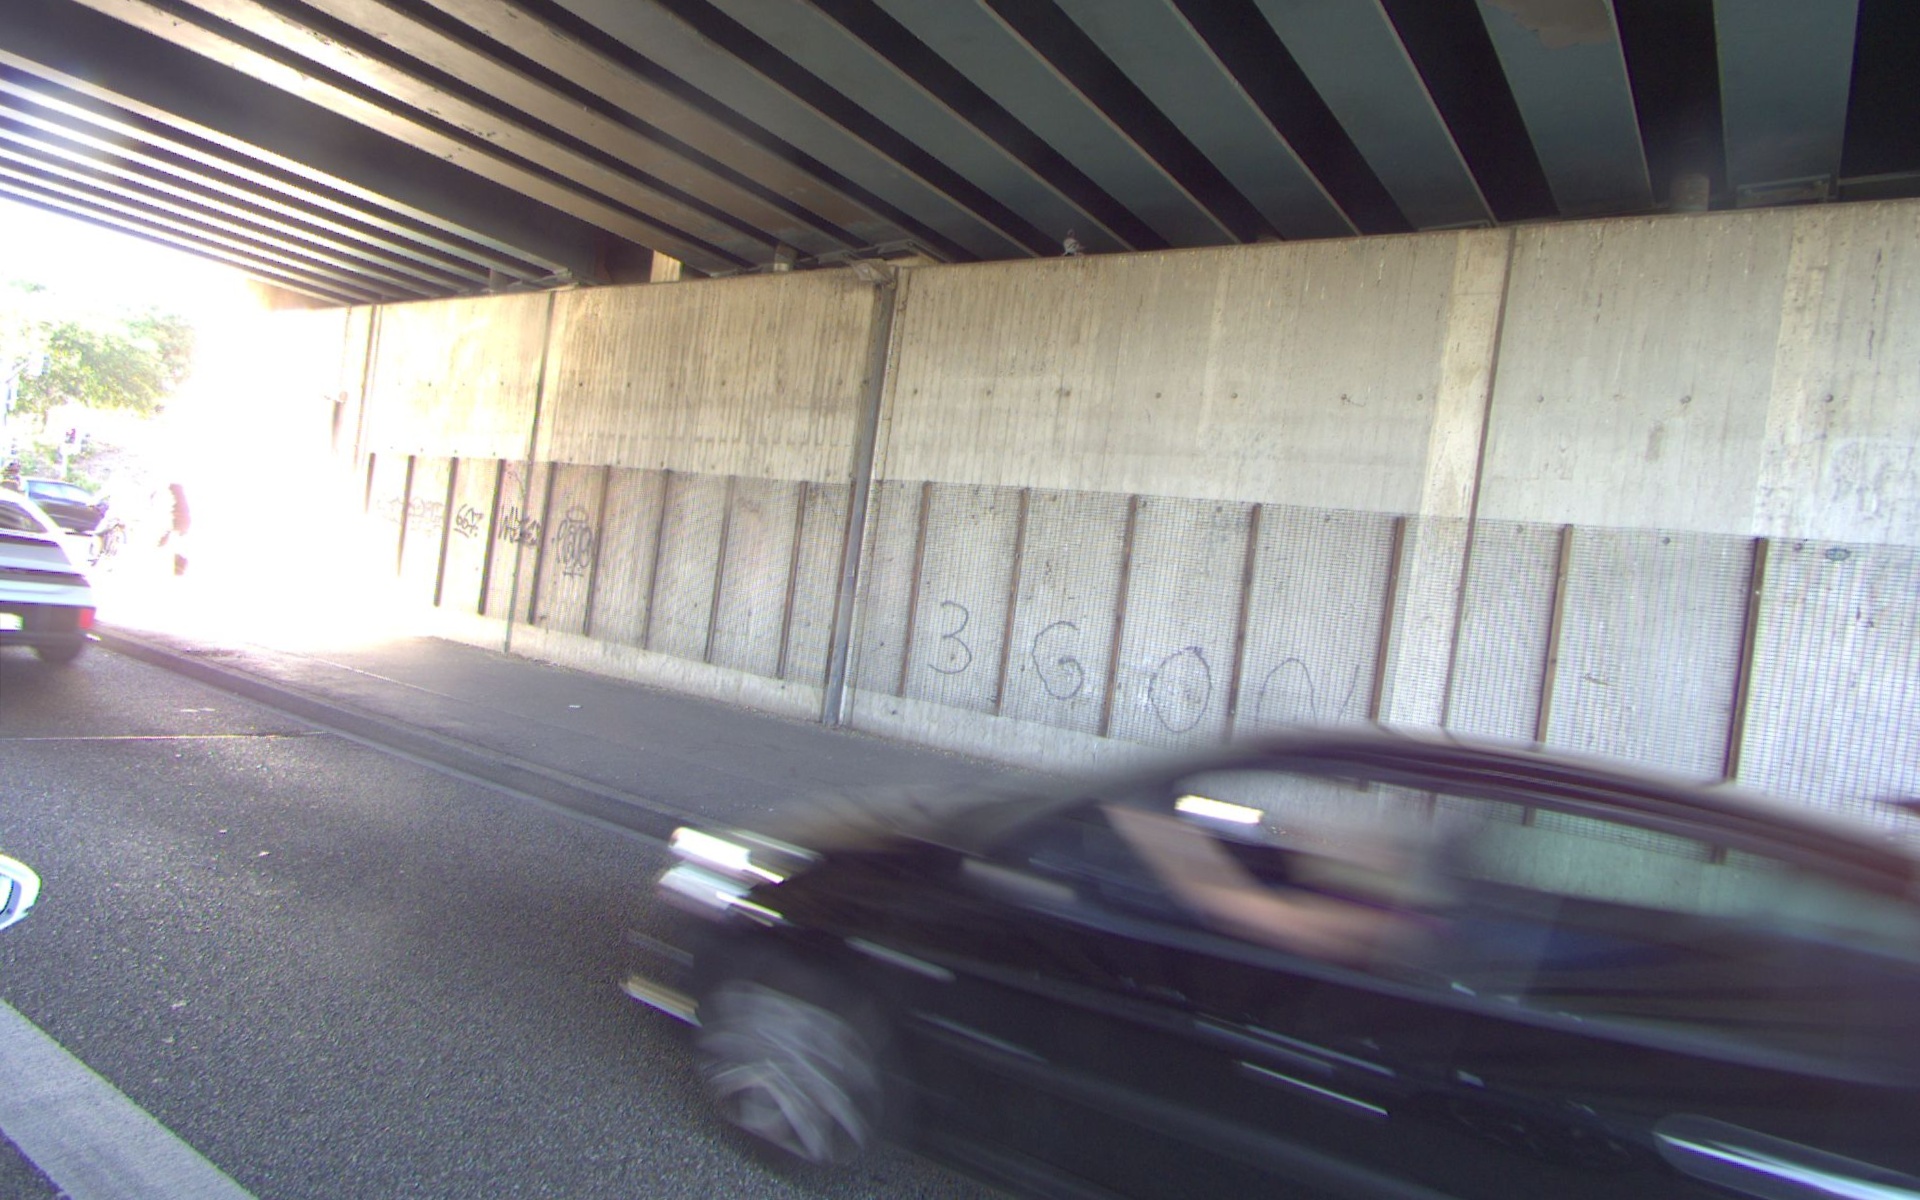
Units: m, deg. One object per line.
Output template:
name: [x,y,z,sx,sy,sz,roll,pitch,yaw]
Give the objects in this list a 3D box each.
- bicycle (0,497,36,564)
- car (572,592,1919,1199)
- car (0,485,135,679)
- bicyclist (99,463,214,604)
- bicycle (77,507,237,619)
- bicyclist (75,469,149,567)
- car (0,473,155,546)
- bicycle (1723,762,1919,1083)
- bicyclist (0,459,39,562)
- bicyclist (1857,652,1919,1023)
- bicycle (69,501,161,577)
bicycle: [-16.194,-1.207,16.977,1.508,1.036,0.676,6,-2,43]
car: [0.958,0.985,2.810,3.653,1.473,1.750,7,-1,29]
car: [-9.415,-0.390,8.834,4.585,1.473,1.750,7,-2,30]
bicyclist: [-10.437,-0.862,13.073,0.871,1.674,0.748,7,-1,31]
bicycle: [-10.474,-0.500,13.092,2.428,1.161,0.766,8,2,31]
bicyclist: [-14.747,-1.414,17.504,0.723,1.581,0.670,7,0,31]
car: [-26.356,-2.662,29.494,1.808,1.480,3.894,7,-2,13]
bicycle: [4.465,1.475,4.287,1.749,1.182,0.651,8,2,33]
bicyclist: [-16.141,-1.526,16.971,0.635,1.647,0.676,6,-2,42]
bicyclist: [4.535,1.045,4.270,0.833,1.553,0.653,7,1,31]
bicycle: [-14.644,-1.062,17.420,1.577,1.126,0.682,6,0,32]
